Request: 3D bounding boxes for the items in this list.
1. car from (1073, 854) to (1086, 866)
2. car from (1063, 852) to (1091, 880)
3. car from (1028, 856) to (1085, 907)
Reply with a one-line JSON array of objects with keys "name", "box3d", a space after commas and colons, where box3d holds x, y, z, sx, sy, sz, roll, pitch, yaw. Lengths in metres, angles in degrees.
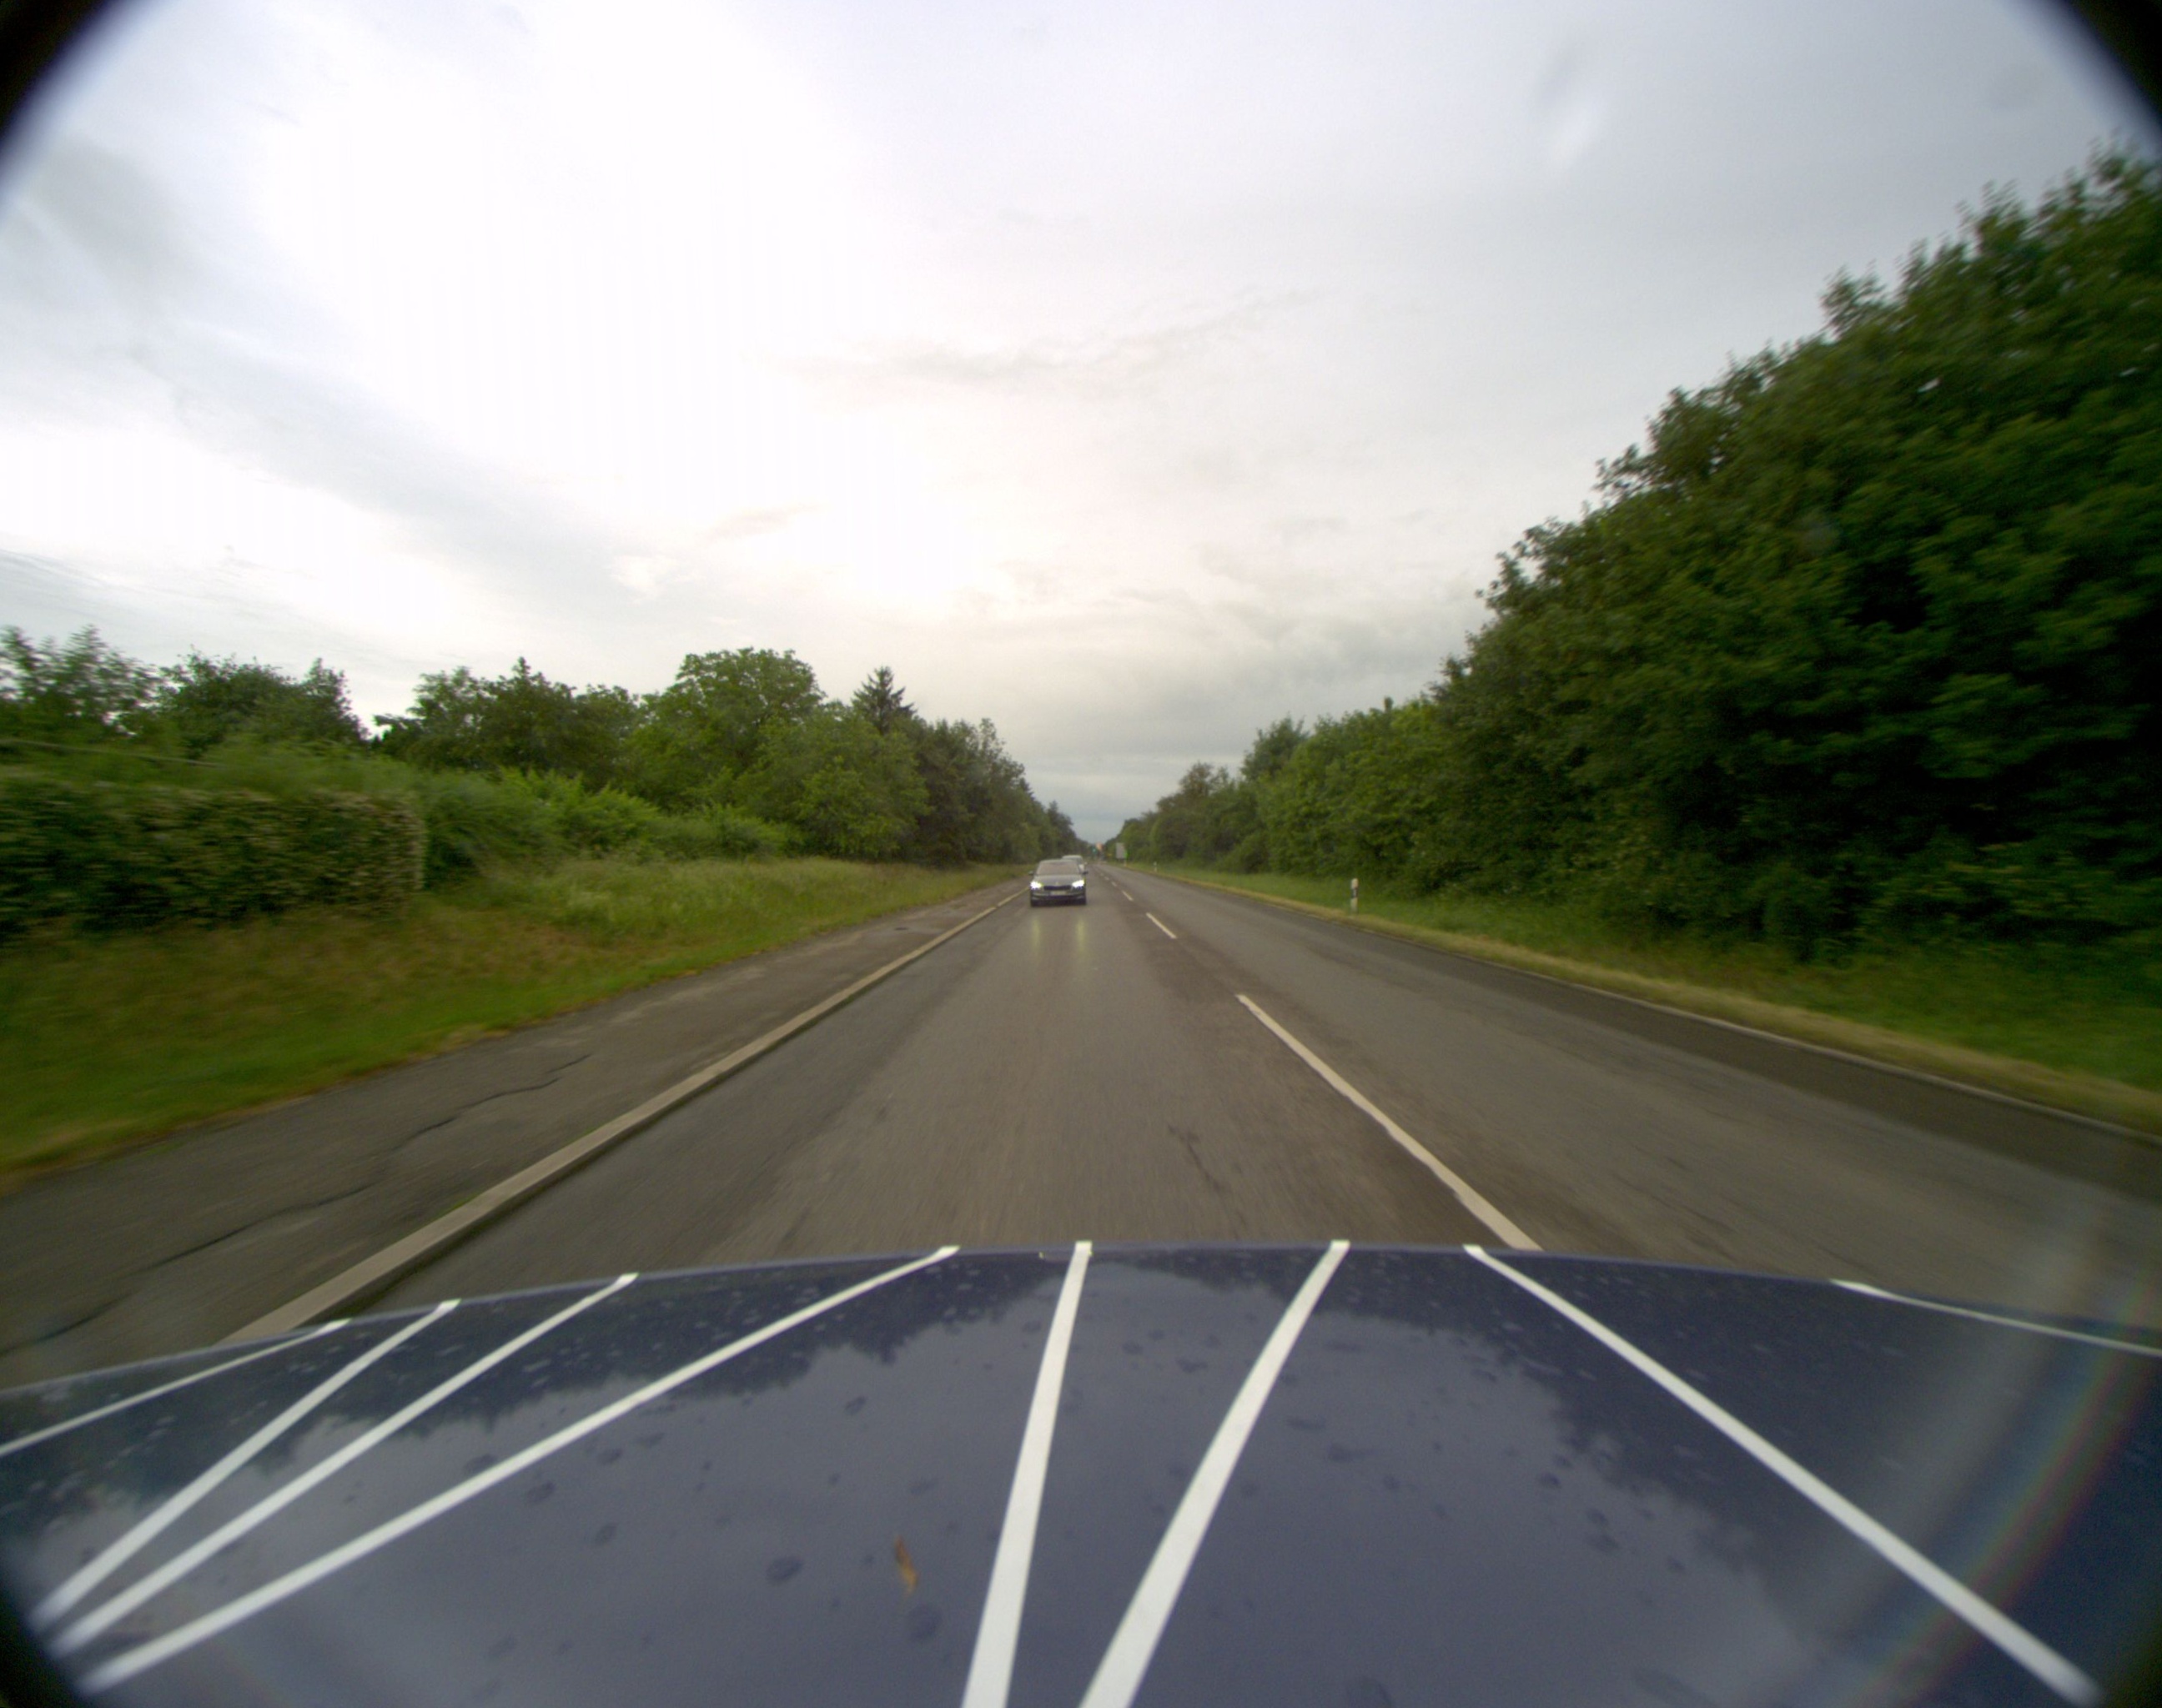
[{"name": "car", "box3d": [-0.263, 0.929, 114.967, 1.856, 1.686, 4.000, 1, 0, 1]}, {"name": "car", "box3d": [-0.273, 0.748, 49.189, 1.704, 1.723, 3.999, -1, 0, -1]}, {"name": "car", "box3d": [-0.754, 0.856, 25.302, 1.675, 1.477, 4.215, -3, -1, 0]}]
